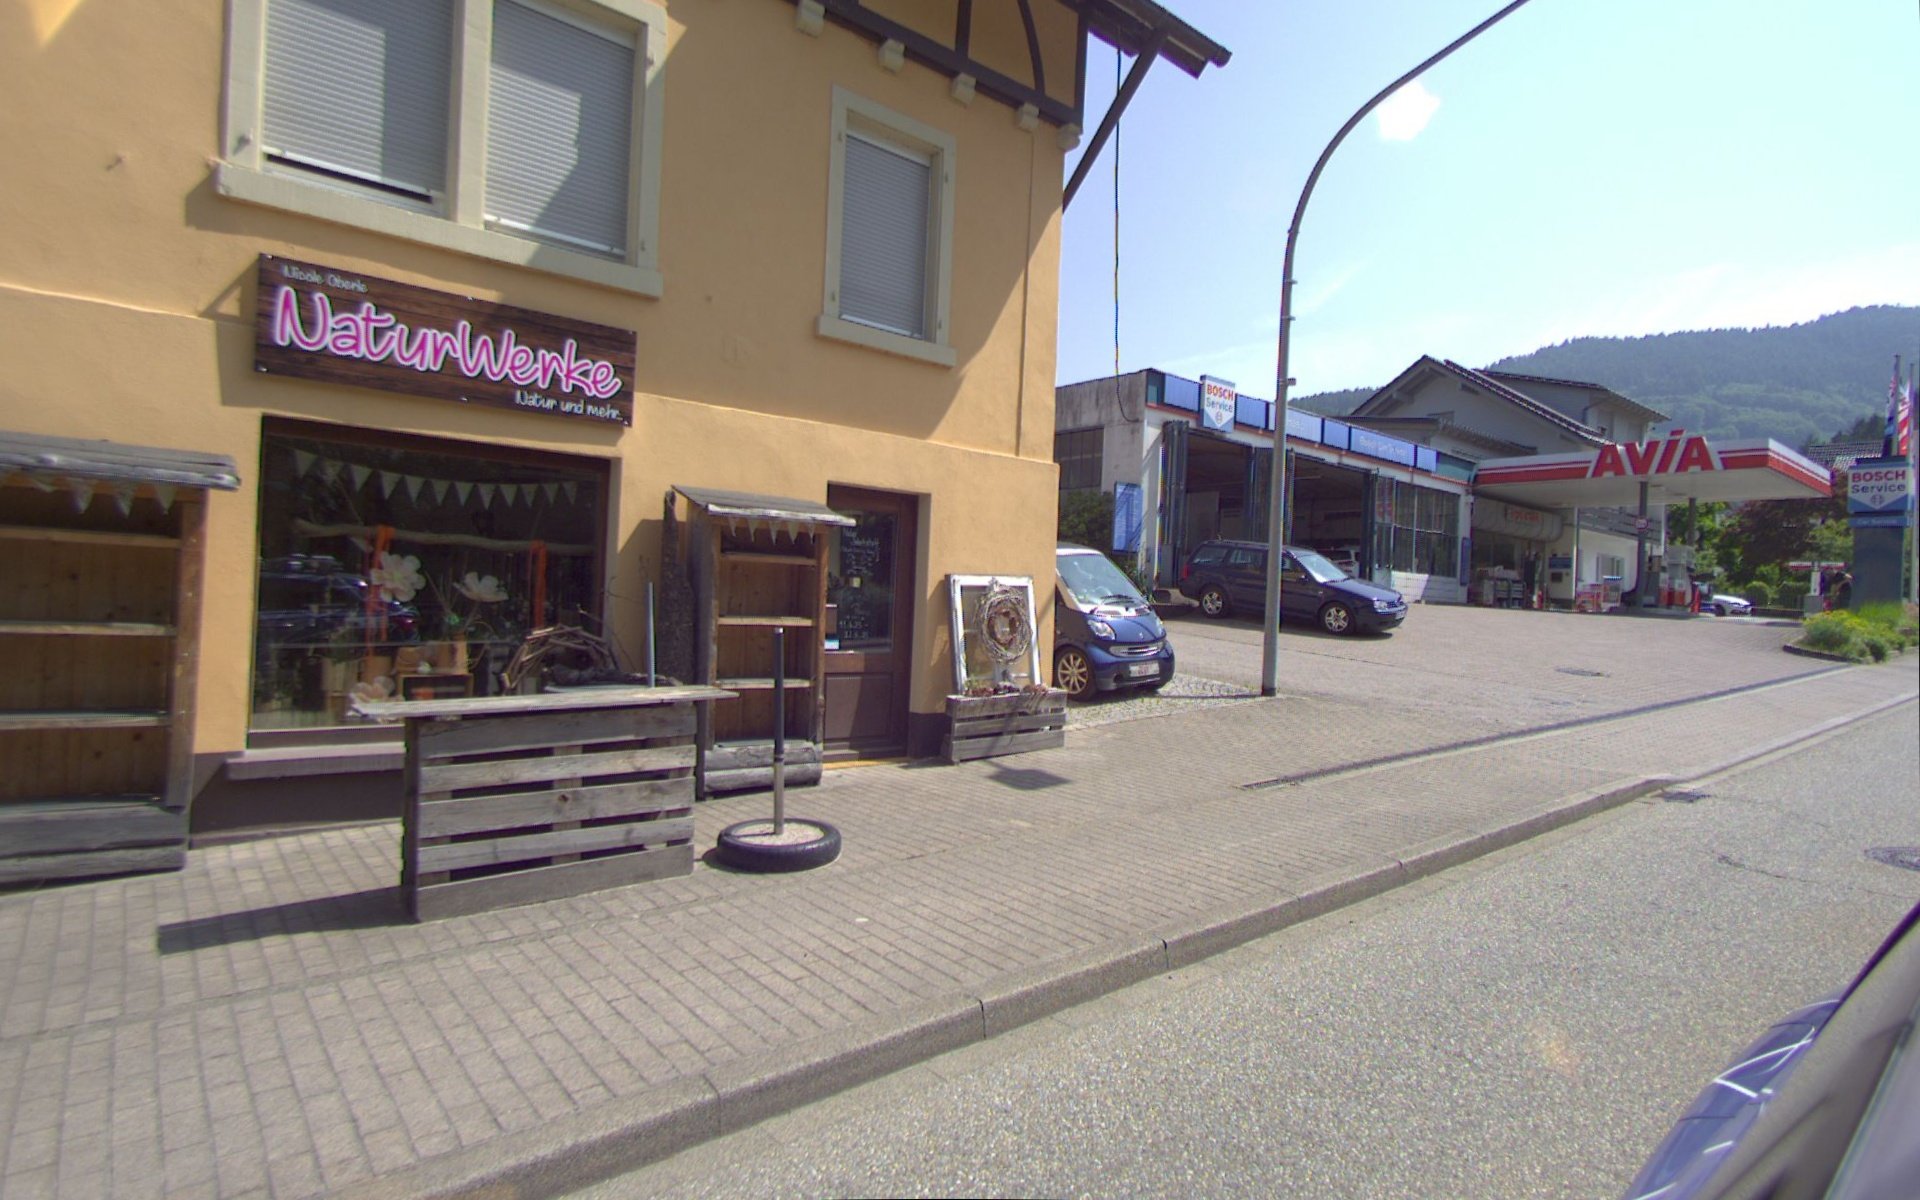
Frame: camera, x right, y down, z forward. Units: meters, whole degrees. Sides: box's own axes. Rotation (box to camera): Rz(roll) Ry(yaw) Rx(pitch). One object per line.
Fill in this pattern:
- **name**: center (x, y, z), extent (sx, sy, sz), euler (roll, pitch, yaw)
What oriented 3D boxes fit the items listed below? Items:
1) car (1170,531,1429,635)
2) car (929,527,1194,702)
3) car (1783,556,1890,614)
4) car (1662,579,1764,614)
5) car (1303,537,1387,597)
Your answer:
- **car**: center (6.441, -0.414, 19.516), extent (4.319, 1.563, 1.773), euler (7, 6, 42)
- **car**: center (1.076, 0.065, 11.499), extent (1.401, 1.553, 2.660), euler (-2, 8, -42)
- **car**: center (27.146, -0.485, 31.321), extent (3.840, 1.595, 1.698), euler (-1, 6, -38)
- **car**: center (30.967, -0.177, 41.678), extent (1.311, 1.158, 3.082), euler (-1, 6, -39)
- **car**: center (12.428, -1.100, 32.550), extent (1.596, 1.707, 3.884), euler (6, 6, 33)
